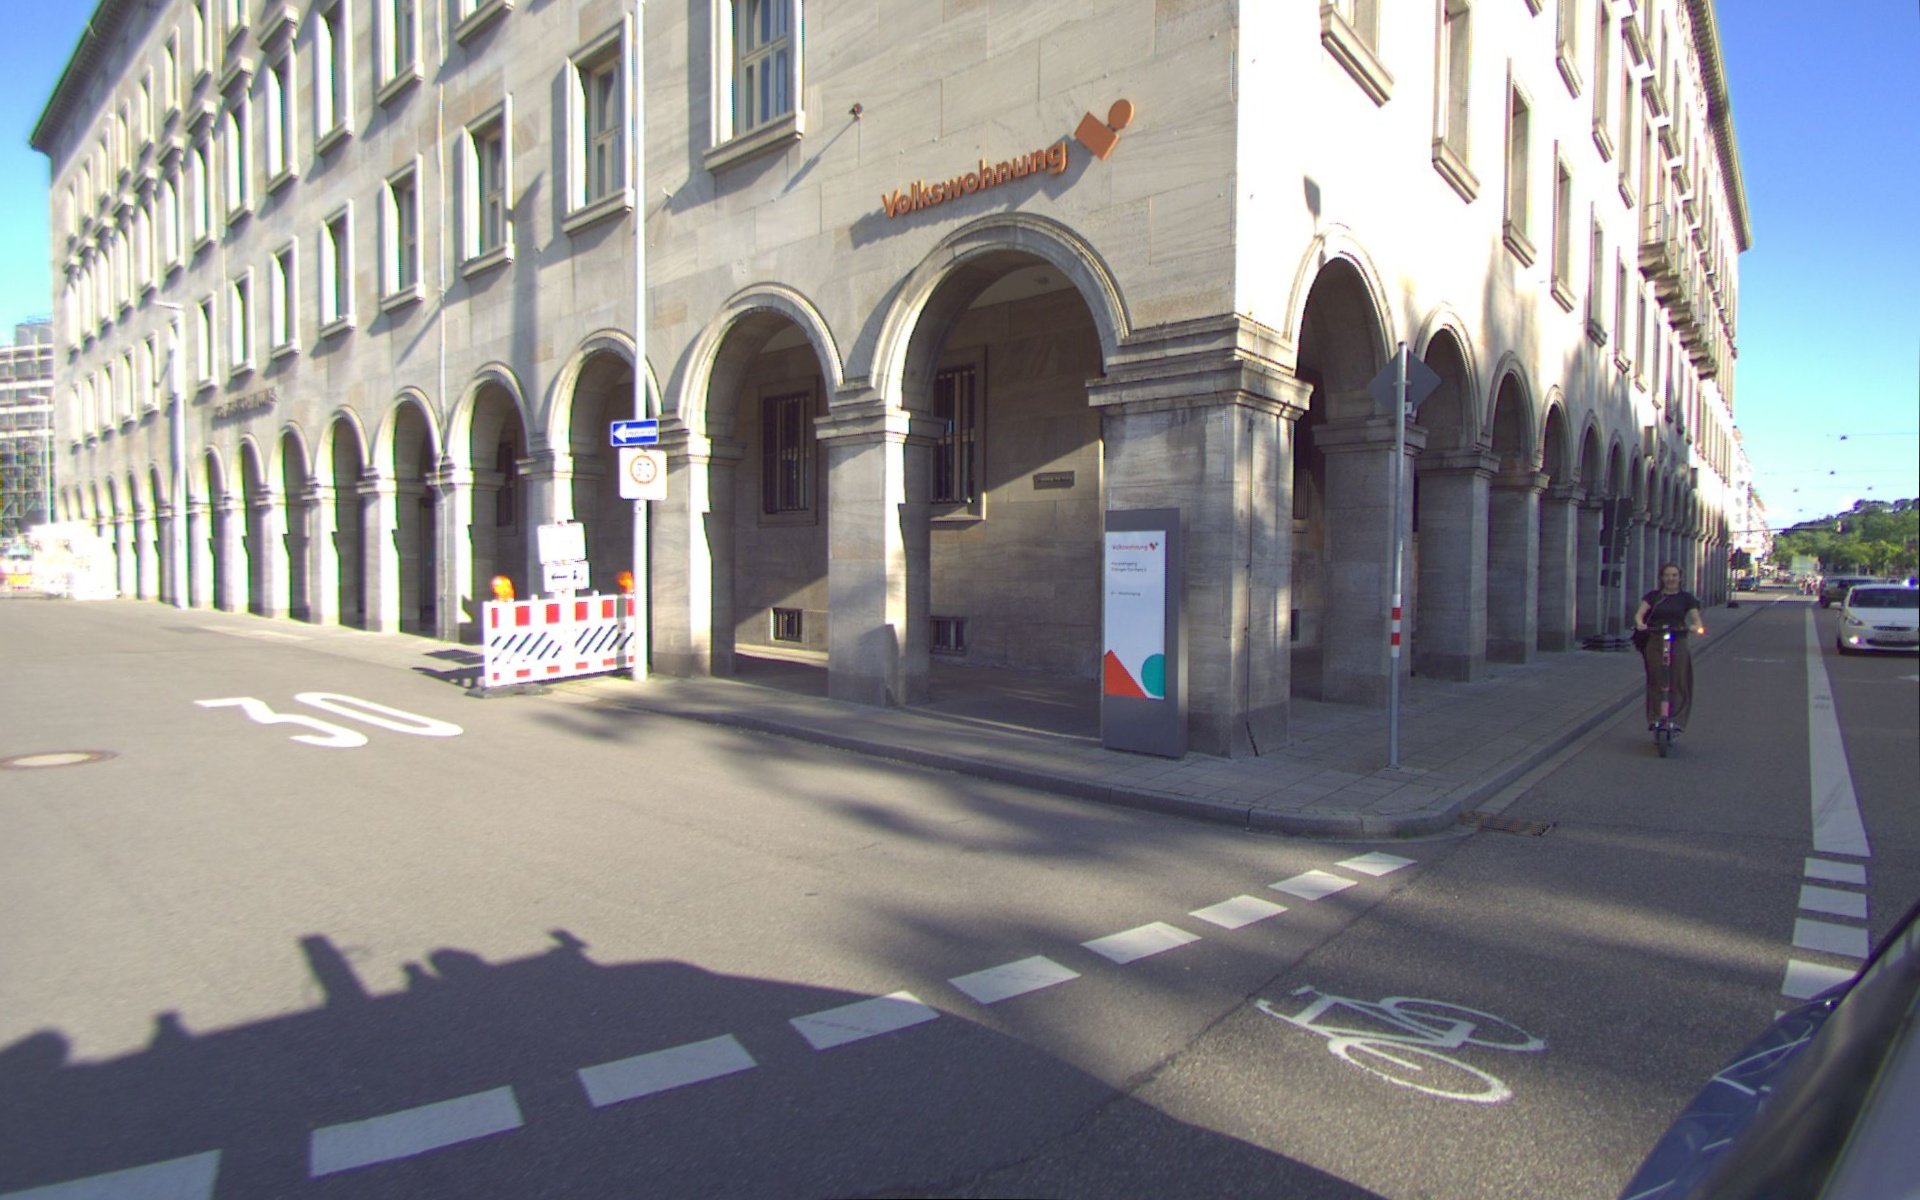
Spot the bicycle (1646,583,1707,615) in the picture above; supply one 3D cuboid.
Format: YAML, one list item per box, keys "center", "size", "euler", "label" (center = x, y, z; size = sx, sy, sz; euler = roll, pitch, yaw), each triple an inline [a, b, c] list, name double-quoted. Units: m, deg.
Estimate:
- center: [24.966, -0.050, 35.274]
  size: [1.679, 1.063, 0.613]
  euler: [1, 2, -5]
  label: "bicycle"

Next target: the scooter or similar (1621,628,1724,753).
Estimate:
- center: [6.710, 0.816, 9.519]
  size: [1.099, 1.044, 0.556]
  euler: [-1, 2, -42]
  label: "scooter or similar"

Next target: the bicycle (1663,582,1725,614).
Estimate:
- center: [26.462, -0.091, 36.511]
  size: [1.697, 1.063, 0.523]
  euler: [3, 3, 27]
  label: "bicycle"

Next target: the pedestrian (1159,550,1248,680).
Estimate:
- center: [3.138, 0.168, 13.019]
  size: [0.775, 1.589, 0.939]
  euler: [1, 1, 39]
  label: "pedestrian"

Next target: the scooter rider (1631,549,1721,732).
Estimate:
- center: [6.738, 0.353, 9.525]
  size: [0.639, 1.652, 0.562]
  euler: [-1, 2, -43]
  label: "scooter rider"

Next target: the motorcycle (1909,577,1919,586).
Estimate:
- center: [82.293, -1.605, 87.299]
  size: [0.622, 0.805, 1.289]
  euler: [1, 2, 42]
  label: "motorcycle"

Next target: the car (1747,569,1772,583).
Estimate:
- center: [89.889, -2.738, 113.714]
  size: [1.992, 1.593, 4.483]
  euler: [1, 2, 41]
  label: "car"

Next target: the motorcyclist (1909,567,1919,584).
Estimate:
- center: [82.339, -2.119, 87.332]
  size: [0.605, 1.464, 0.725]
  euler: [1, 2, 43]
  label: "motorcyclist"

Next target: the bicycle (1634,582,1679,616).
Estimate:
- center: [22.270, -0.041, 32.346]
  size: [1.679, 1.063, 0.472]
  euler: [0, 3, -30]
  label: "bicycle"

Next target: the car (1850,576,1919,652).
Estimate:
- center: [20.109, 0.245, 21.548]
  size: [1.673, 1.482, 3.708]
  euler: [0, 1, 42]
  label: "car"

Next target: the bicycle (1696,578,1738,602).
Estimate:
- center: [38.640, -0.535, 51.684]
  size: [0.650, 1.147, 1.717]
  euler: [1, 3, -9]
  label: "bicycle"

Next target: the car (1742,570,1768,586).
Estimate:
- center: [85.881, -2.389, 109.289]
  size: [1.992, 1.593, 4.483]
  euler: [1, 2, 41]
  label: "car"
